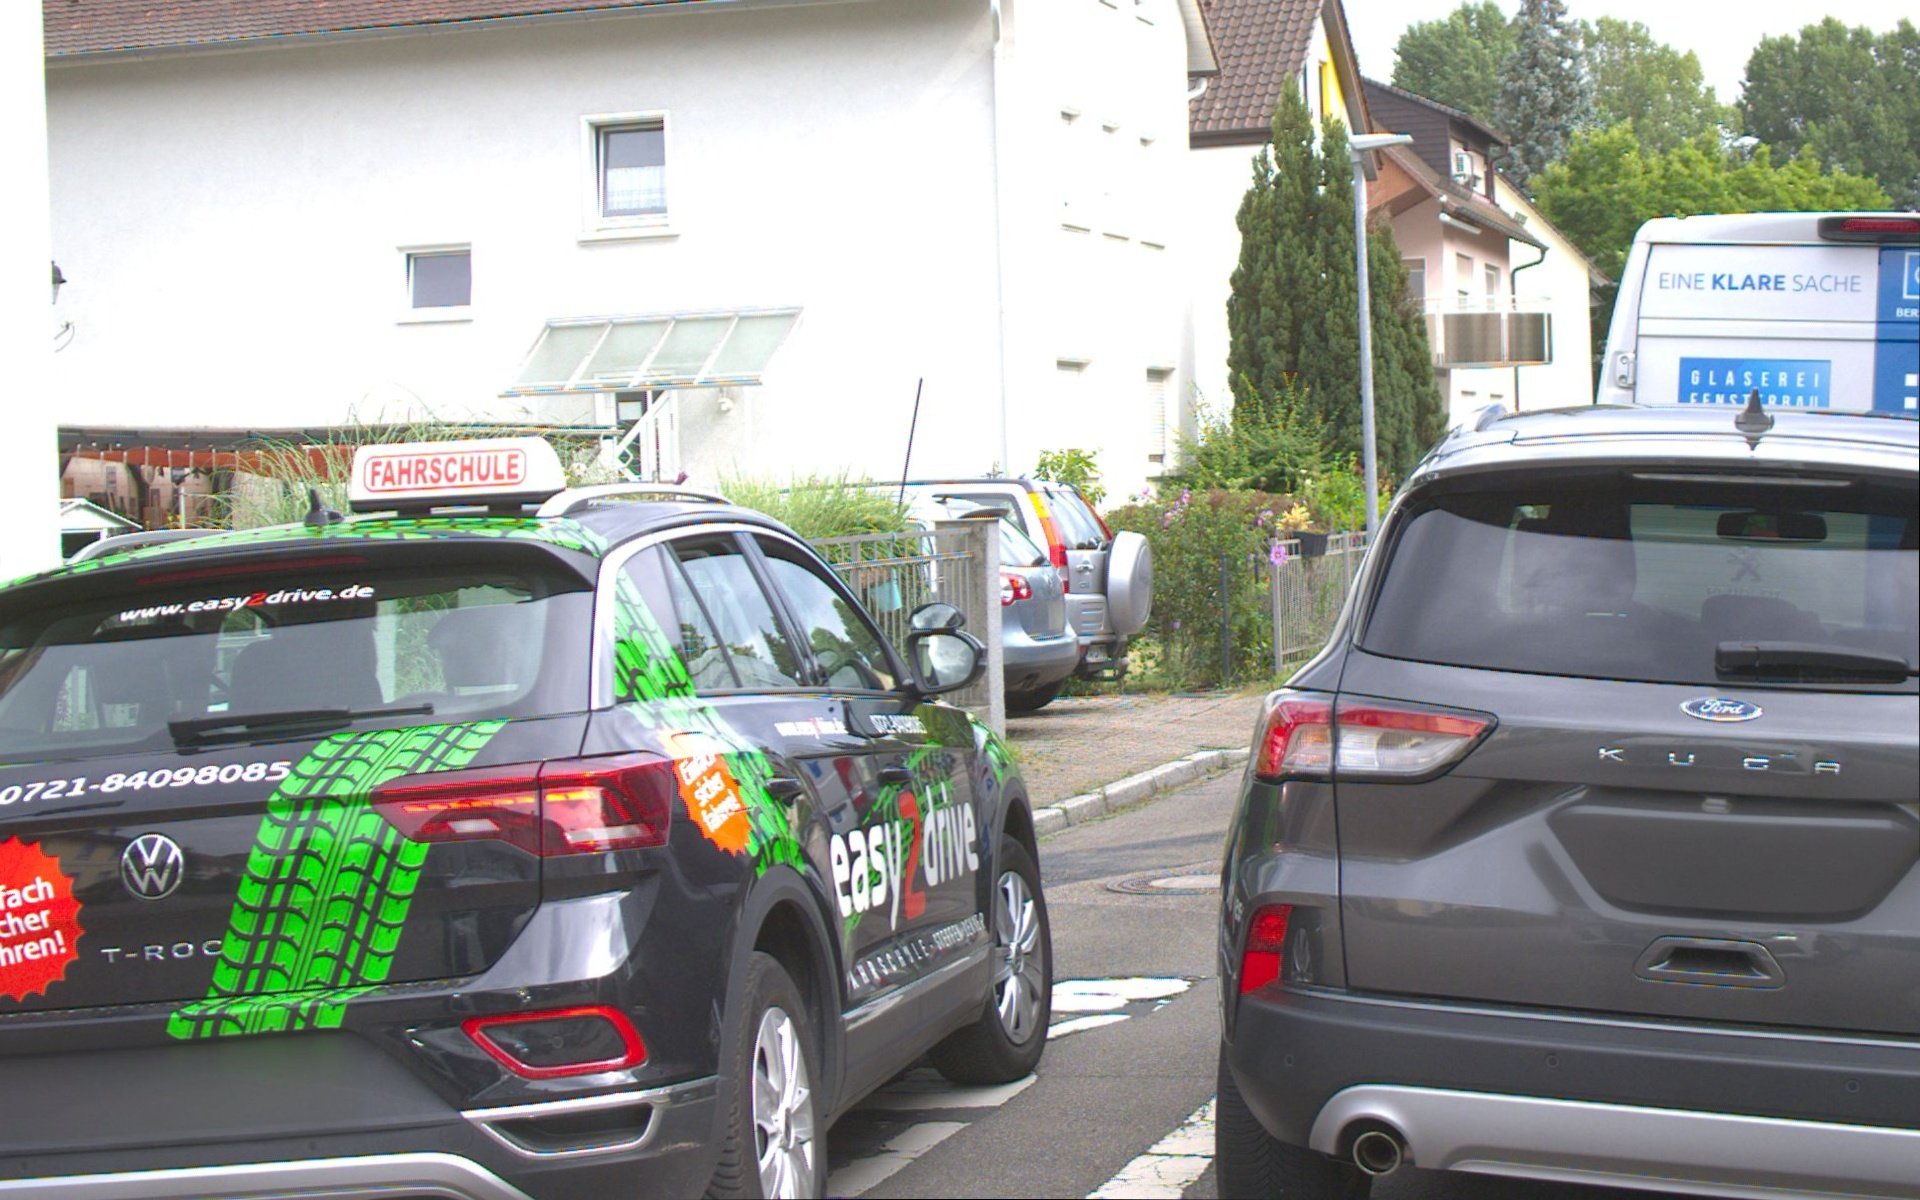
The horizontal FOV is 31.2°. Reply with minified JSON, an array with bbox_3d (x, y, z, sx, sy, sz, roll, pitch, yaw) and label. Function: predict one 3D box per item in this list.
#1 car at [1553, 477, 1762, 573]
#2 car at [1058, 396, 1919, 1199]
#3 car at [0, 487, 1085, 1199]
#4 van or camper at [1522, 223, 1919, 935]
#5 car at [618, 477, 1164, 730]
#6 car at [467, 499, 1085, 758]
[{"bbox_3d":[13.982,-1.492,68.840,3.989,1.766,1.869,-1,0,14],"label":"car"},{"bbox_3d":[1.699,0.472,7.449,1.995,1.721,4.339,-2,2,15],"label":"car"},{"bbox_3d":[-0.985,0.574,7.464,1.817,1.515,4.041,-3,1,11],"label":"car"},{"bbox_3d":[3.802,-0.164,14.309,2.193,2.450,5.051,-1,2,17],"label":"van or camper"},{"bbox_3d":[-0.465,0.019,24.593,3.573,1.662,1.587,-2,1,14],"label":"car"},{"bbox_3d":[-1.135,0.168,21.815,3.573,1.495,1.587,-2,1,14],"label":"car"}]
